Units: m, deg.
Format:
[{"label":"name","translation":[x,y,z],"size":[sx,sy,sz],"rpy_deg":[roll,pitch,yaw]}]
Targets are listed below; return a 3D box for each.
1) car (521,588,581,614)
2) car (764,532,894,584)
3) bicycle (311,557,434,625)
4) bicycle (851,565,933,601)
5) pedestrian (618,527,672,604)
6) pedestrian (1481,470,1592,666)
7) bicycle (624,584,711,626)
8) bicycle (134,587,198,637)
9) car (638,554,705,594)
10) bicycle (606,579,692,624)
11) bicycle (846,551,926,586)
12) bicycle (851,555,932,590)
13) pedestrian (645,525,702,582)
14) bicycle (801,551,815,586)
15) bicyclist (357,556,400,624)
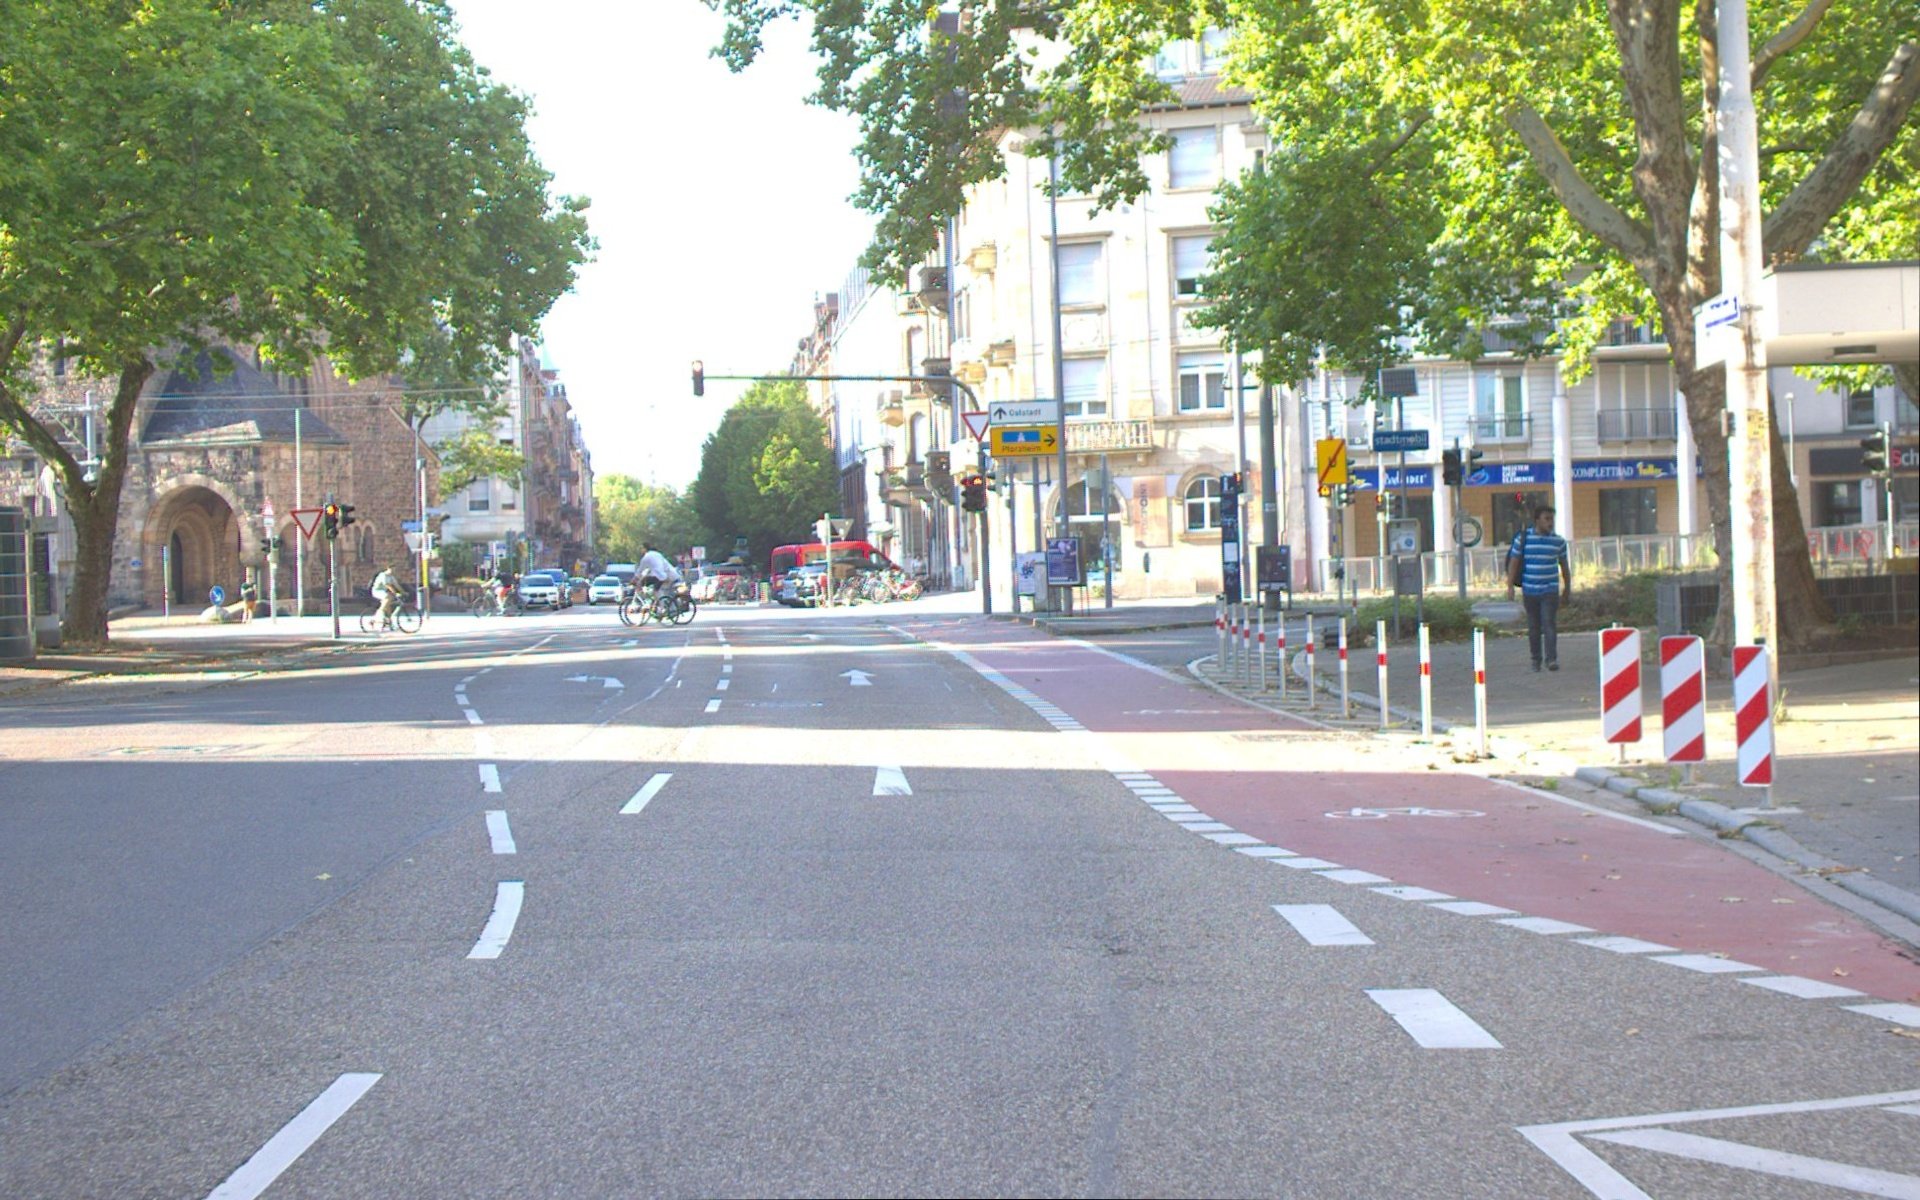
[{"label":"car","translation":[-18.352,0.050,154.374],"size":[1.595,1.140,3.381],"rpy_deg":[0,0,14]},{"label":"car","translation":[-5.327,-1.683,139.802],"size":[4.988,2.007,2.166],"rpy_deg":[1,0,-40]},{"label":"bicycle","translation":[-14.468,-0.221,84.684],"size":[2.842,1.650,0.830],"rpy_deg":[0,0,8]},{"label":"bicycle","translation":[-2.383,-0.585,119.645],"size":[2.802,1.199,0.510],"rpy_deg":[0,0,-7]},{"label":"pedestrian","translation":[-6.989,-0.764,76.305],"size":[0.992,1.702,0.627],"rpy_deg":[0,0,23]},{"label":"pedestrian","translation":[6.164,-0.335,36.807],"size":[0.827,2.007,1.153],"rpy_deg":[-5,0,-1]},{"label":"bicycle","translation":[-6.597,0.106,77.647],"size":[1.783,0.892,0.750],"rpy_deg":[-1,1,18]},{"label":"bicycle","translation":[-27.975,0.424,121.186],"size":[1.286,1.744,4.000],"rpy_deg":[0,0,0]},{"label":"car","translation":[-10.793,-0.953,128.686],"size":[1.587,1.457,3.181],"rpy_deg":[0,0,13]},{"label":"bicycle","translation":[-6.897,0.029,76.273],"size":[1.786,0.978,0.656],"rpy_deg":[0,0,24]},{"label":"bicycle","translation":[-2.625,-1.115,121.958],"size":[2.802,1.199,0.510],"rpy_deg":[0,6,-7]},{"label":"bicycle","translation":[-2.408,-0.982,121.115],"size":[2.802,1.199,0.517],"rpy_deg":[0,0,-7]},{"label":"pedestrian","translation":[-6.468,-1.046,77.627],"size":[1.049,1.273,0.791],"rpy_deg":[0,0,18]},{"label":"bicycle","translation":[-5.416,-1.113,122.523],"size":[0.508,1.199,2.092],"rpy_deg":[0,0,-2]},{"label":"bicyclist","translation":[-14.323,-0.242,84.660],"size":[0.802,1.651,0.934],"rpy_deg":[0,0,7]}]
